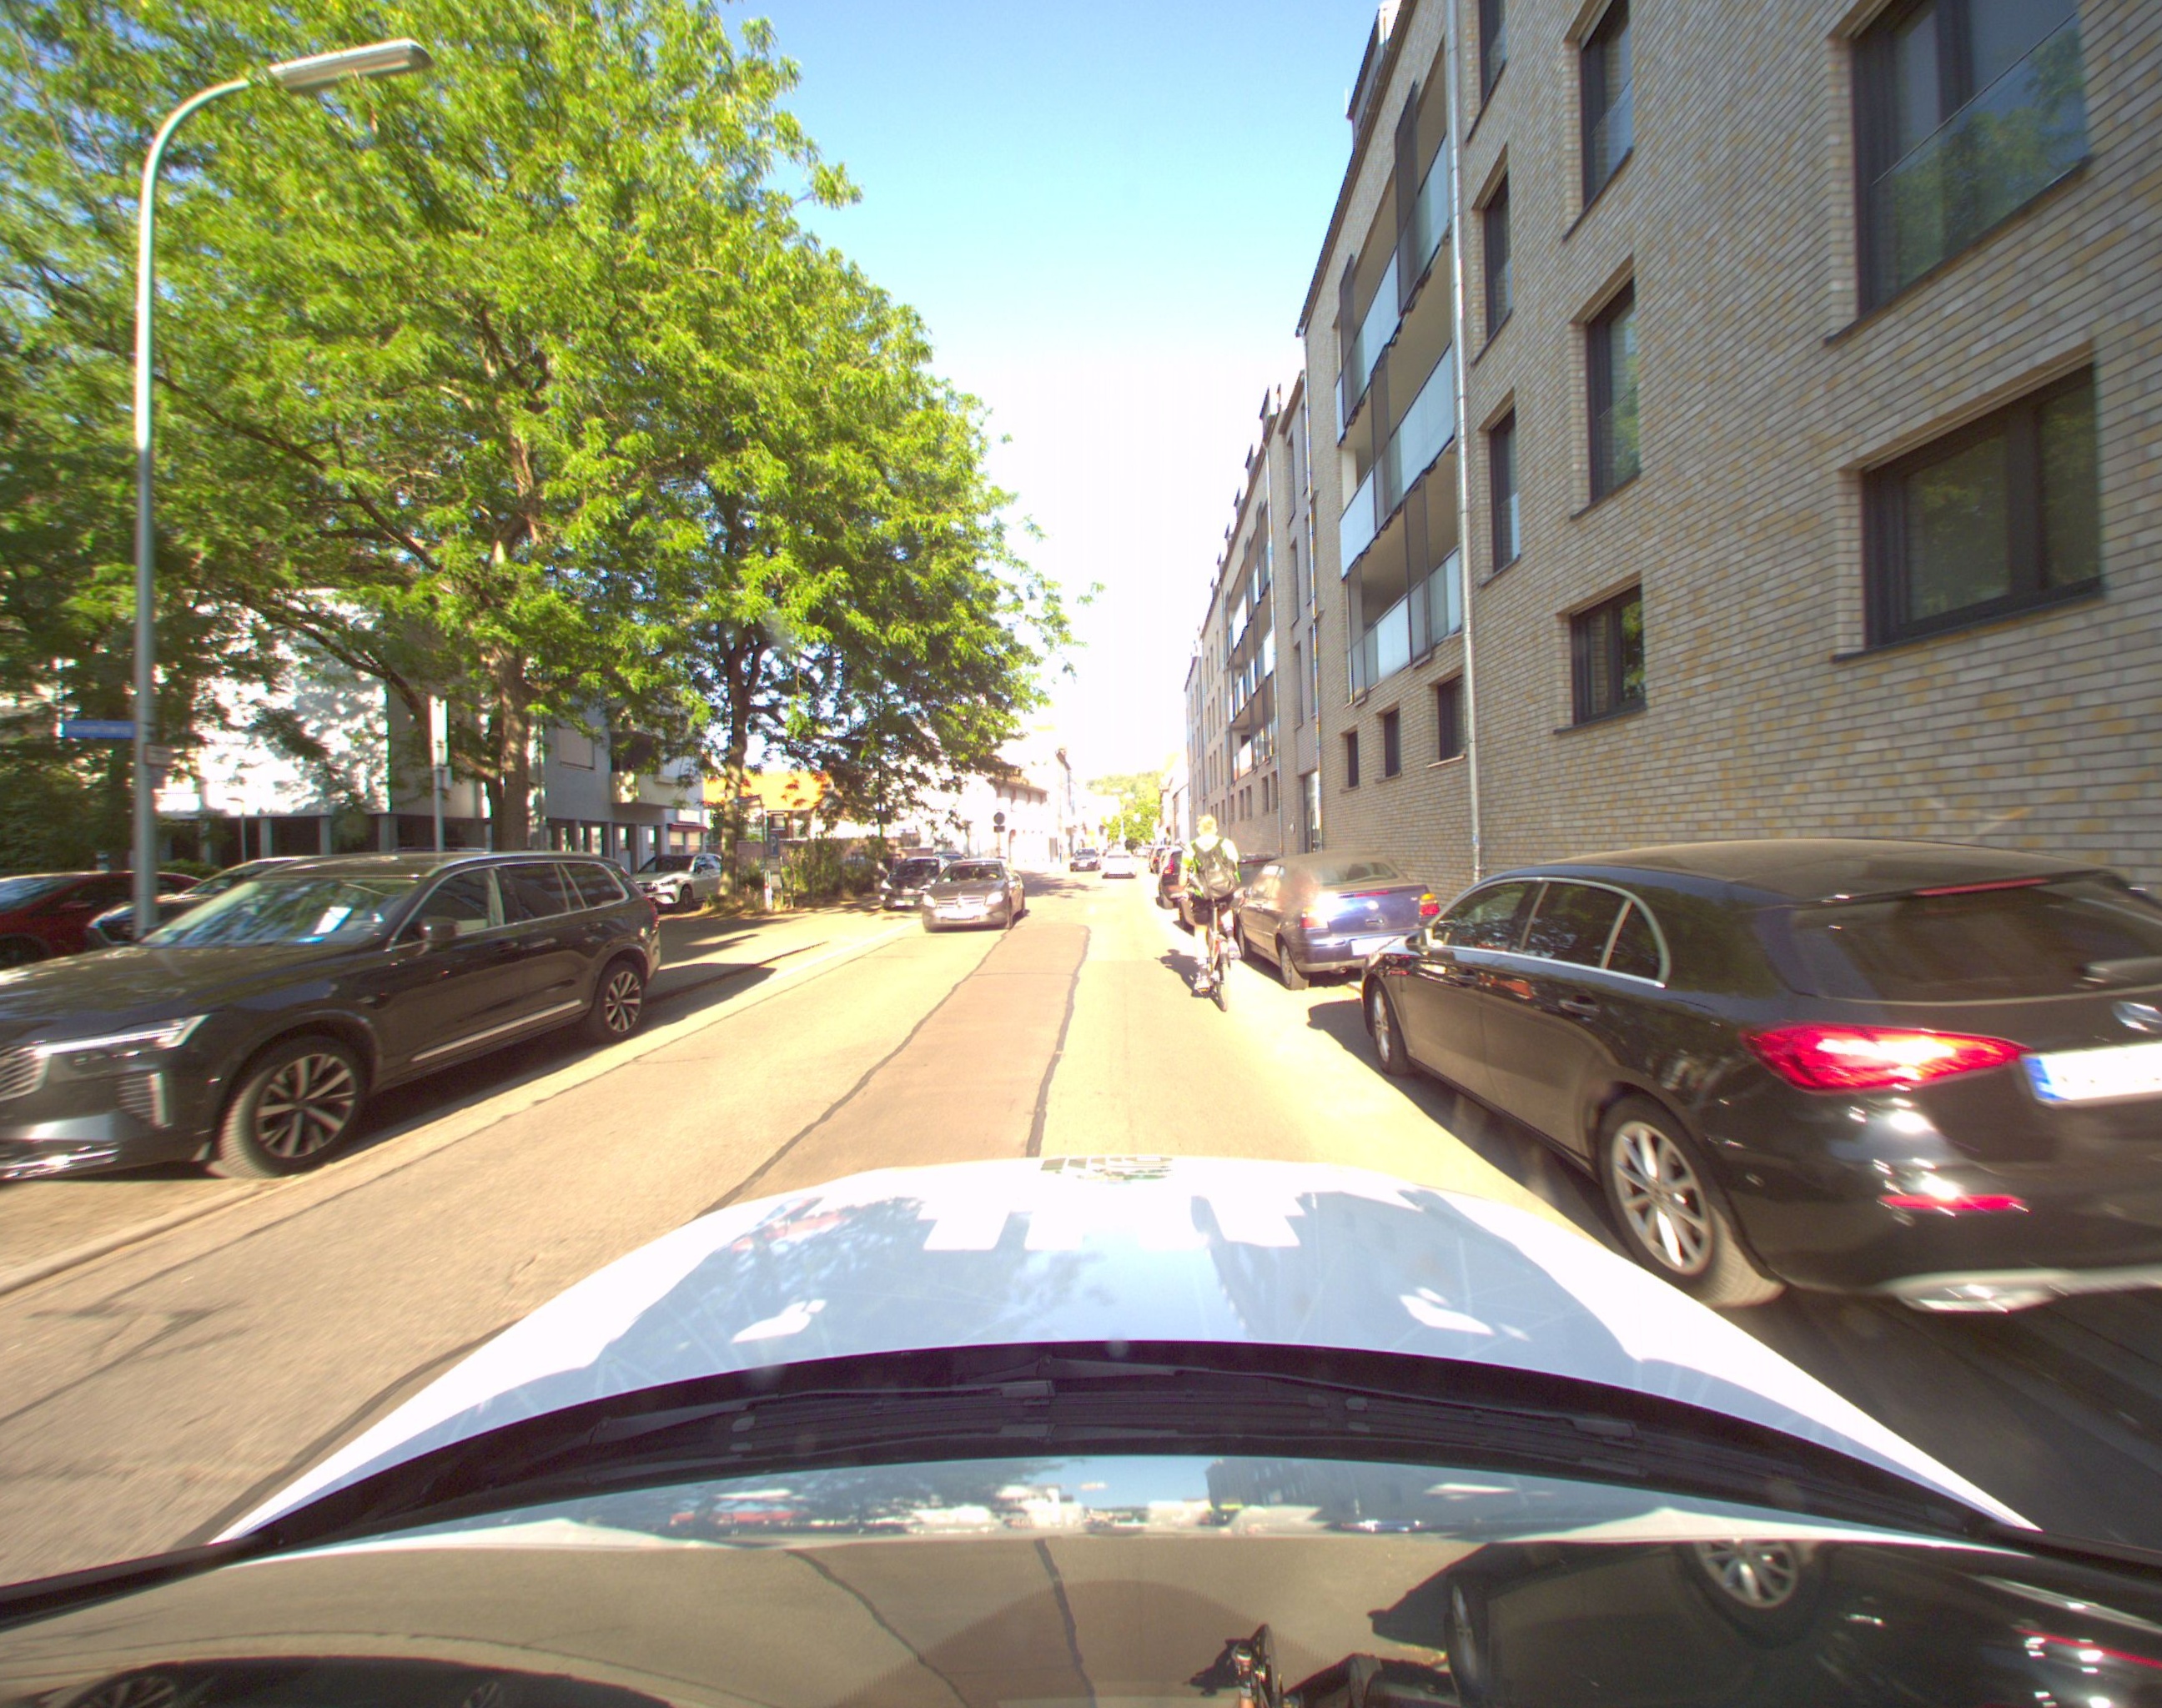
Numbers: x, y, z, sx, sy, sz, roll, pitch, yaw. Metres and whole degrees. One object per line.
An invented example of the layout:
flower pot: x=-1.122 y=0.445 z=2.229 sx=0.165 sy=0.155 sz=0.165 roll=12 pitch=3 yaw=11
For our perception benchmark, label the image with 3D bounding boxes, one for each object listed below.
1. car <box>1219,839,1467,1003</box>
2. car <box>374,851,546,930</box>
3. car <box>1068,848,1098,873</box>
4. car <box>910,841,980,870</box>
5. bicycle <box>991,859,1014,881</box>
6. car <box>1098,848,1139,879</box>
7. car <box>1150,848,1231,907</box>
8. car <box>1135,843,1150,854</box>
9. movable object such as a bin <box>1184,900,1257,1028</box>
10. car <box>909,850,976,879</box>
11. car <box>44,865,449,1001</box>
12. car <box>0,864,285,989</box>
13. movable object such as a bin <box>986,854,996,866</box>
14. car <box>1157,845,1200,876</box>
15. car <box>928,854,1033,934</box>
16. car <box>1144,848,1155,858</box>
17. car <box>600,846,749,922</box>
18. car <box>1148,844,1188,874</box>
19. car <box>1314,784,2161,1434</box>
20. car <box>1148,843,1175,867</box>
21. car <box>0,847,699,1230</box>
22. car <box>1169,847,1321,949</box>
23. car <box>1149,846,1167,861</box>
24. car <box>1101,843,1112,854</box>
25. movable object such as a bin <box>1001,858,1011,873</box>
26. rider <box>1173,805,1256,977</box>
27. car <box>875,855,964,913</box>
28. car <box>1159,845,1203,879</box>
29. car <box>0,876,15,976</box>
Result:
car: x=2.970 y=0.660 z=10.224 sx=1.658 sy=1.516 sz=4.218 roll=-4 pitch=0 yaw=0
car: x=-17.432 y=0.929 z=23.172 sx=2.017 sy=1.948 sz=4.310 roll=-2 pitch=0 yaw=-9
car: x=0.165 y=0.438 z=57.368 sx=1.932 sy=1.576 sz=4.320 roll=-3 pitch=0 yaw=1
car: x=-9.326 y=0.097 z=55.884 sx=4.343 sy=1.794 sz=1.991 roll=1 pitch=3 yaw=4
bicycle: x=-3.765 y=0.776 z=39.343 sx=0.700 sy=1.003 sz=1.945 roll=-1 pitch=0 yaw=7
car: x=1.950 y=0.455 z=42.879 sx=1.986 sy=1.466 sz=4.002 roll=-3 pitch=0 yaw=2
car: x=3.025 y=0.606 z=23.239 sx=1.810 sy=1.466 sz=4.271 roll=-3 pitch=0 yaw=2
car: x=8.468 y=-0.772 z=112.240 sx=1.985 sy=1.466 sz=4.004 roll=-3 pitch=0 yaw=3
movable object such as a bin: x=1.334 y=1.008 z=8.028 sx=0.453 sy=1.033 sz=1.841 roll=1 pitch=-1 yaw=2
car: x=-8.848 y=0.659 z=52.162 sx=3.751 sy=1.530 sz=2.002 roll=-3 pitch=1 yaw=4
car: x=-10.811 y=0.915 z=10.979 sx=1.514 sy=1.408 sz=3.643 roll=-3 pitch=0 yaw=4
car: x=-13.764 y=0.923 z=11.145 sx=1.573 sy=1.441 sz=4.425 roll=-3 pitch=0 yaw=-5
movable object such as a bin: x=-6.436 y=0.440 z=58.267 sx=0.596 sy=0.872 sz=0.606 roll=-1 pitch=0 yaw=1
car: x=5.291 y=0.330 z=44.752 sx=1.985 sy=1.505 sz=4.370 roll=-2 pitch=1 yaw=3
car: x=-2.074 y=0.784 z=17.864 sx=1.802 sy=1.466 sz=3.998 roll=-3 pitch=0 yaw=-1
car: x=12.673 y=-0.186 z=150.794 sx=2.003 sy=1.853 sz=4.003 roll=-1 pitch=1 yaw=3
car: x=-11.477 y=0.743 z=23.449 sx=1.838 sy=1.895 sz=4.904 roll=-2 pitch=1 yaw=-1
car: x=5.270 y=0.267 z=49.871 sx=1.986 sy=1.653 sz=4.764 roll=-2 pitch=1 yaw=1
car: x=2.777 y=0.612 z=4.364 sx=1.719 sy=1.529 sz=4.627 roll=-6 pitch=0 yaw=2
car: x=6.132 y=0.067 z=62.768 sx=1.846 sy=1.636 sz=4.629 roll=-5 pitch=1 yaw=4
car: x=-5.133 y=0.810 z=6.186 sx=1.924 sy=1.705 sz=5.102 roll=0 pitch=0 yaw=1
car: x=2.781 y=0.671 z=14.868 sx=1.691 sy=1.467 sz=4.718 roll=-4 pitch=0 yaw=-1
car: x=8.120 y=-0.082 z=86.108 sx=1.733 sy=1.492 sz=4.445 roll=-4 pitch=0 yaw=5
car: x=4.971 y=-1.133 z=156.653 sx=1.986 sy=2.013 sz=4.002 roll=-2 pitch=0 yaw=2
movable object such as a bin: x=-5.442 y=0.822 z=59.314 sx=0.596 sy=1.094 sz=0.752 roll=-1 pitch=0 yaw=4
rider: x=1.278 y=0.343 z=7.965 sx=0.651 sy=1.562 sz=1.083 roll=1 pitch=-1 yaw=1
car: x=-4.749 y=0.827 z=24.485 sx=1.690 sy=1.491 sz=4.002 roll=-3 pitch=0 yaw=2
car: x=4.848 y=0.367 z=39.841 sx=1.706 sy=1.404 sz=4.076 roll=-6 pitch=0 yaw=3
car: x=-16.694 y=1.095 z=10.134 sx=1.678 sy=1.440 sz=3.816 roll=-3 pitch=0 yaw=4
